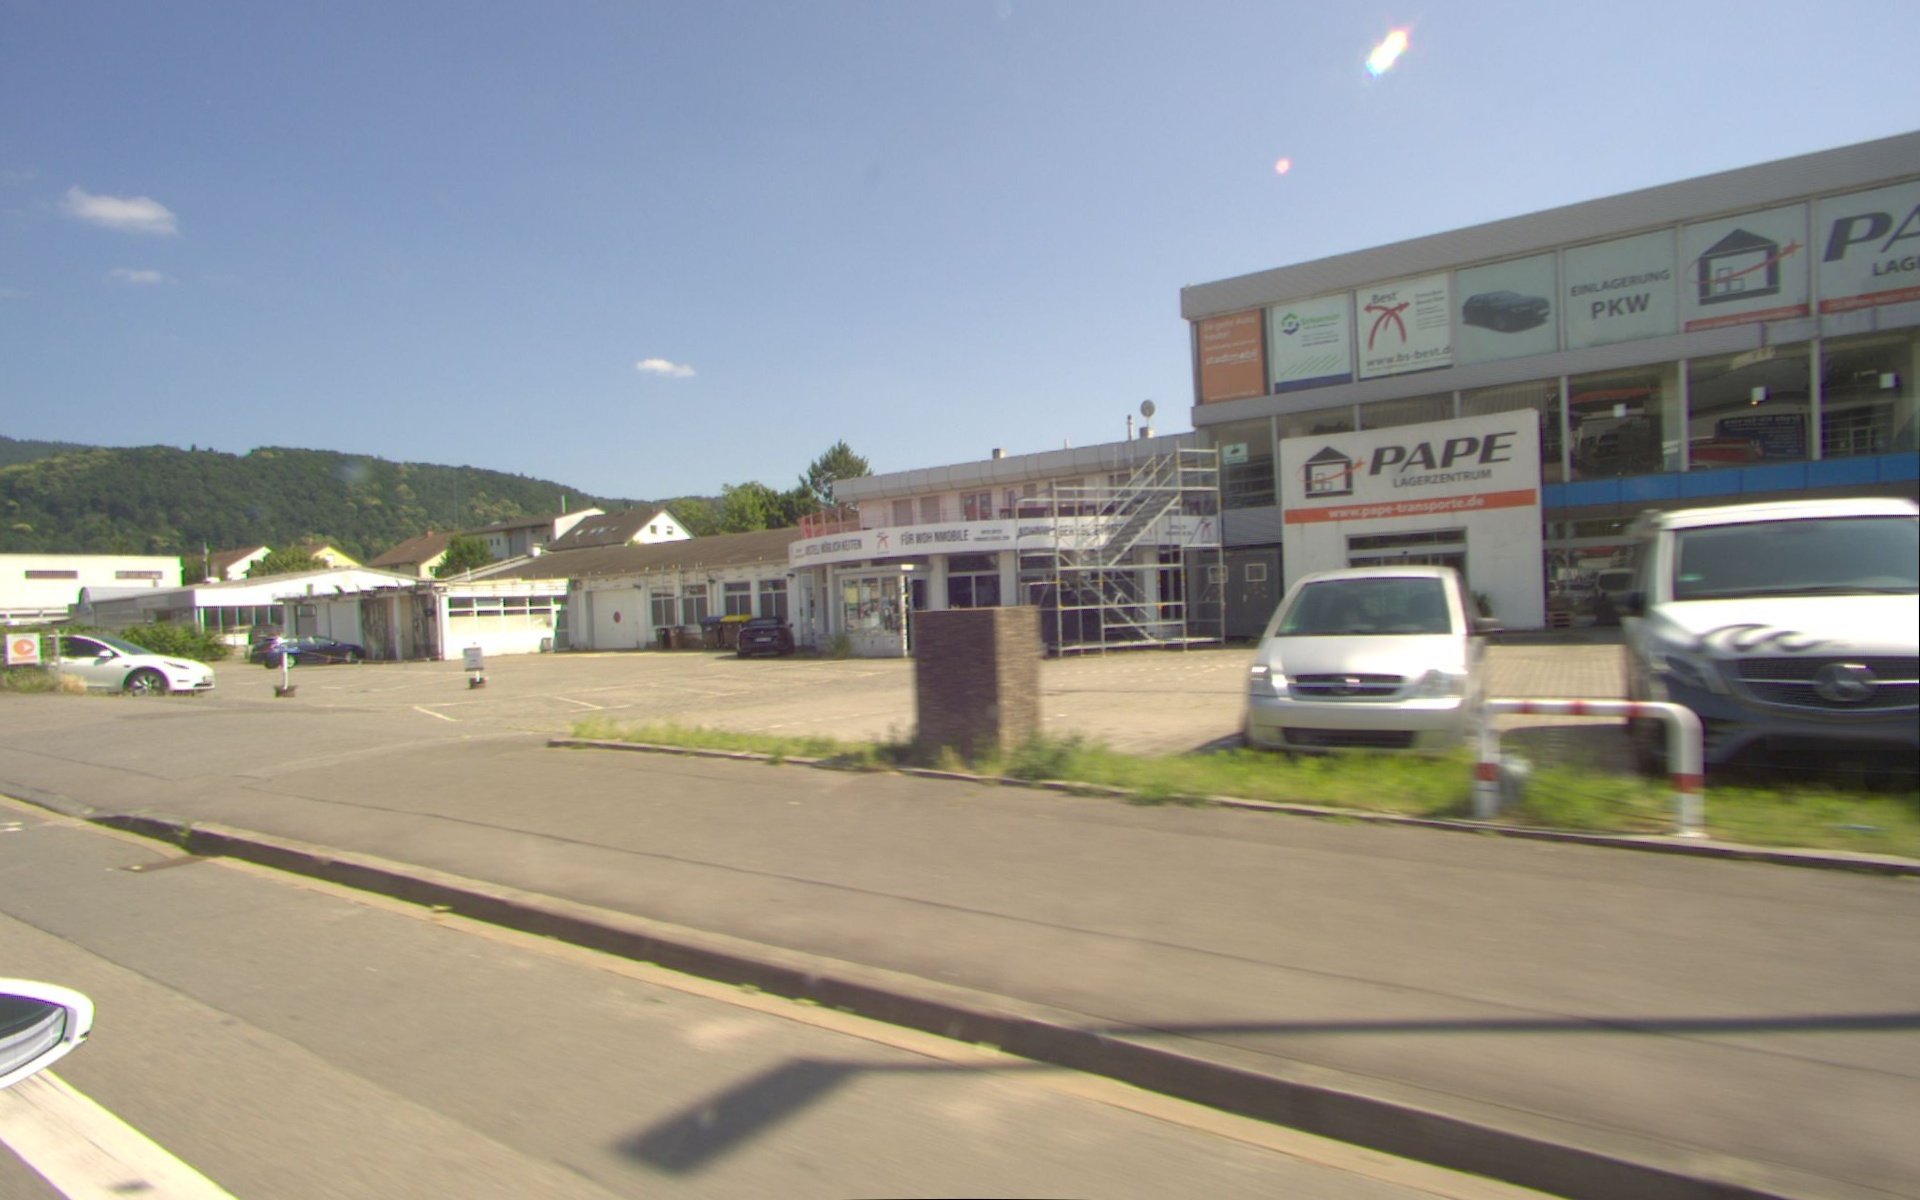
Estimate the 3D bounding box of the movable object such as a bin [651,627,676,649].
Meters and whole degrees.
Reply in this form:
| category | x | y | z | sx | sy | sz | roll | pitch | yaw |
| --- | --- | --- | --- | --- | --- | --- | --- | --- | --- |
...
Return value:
| category | x | y | z | sx | sy | sz | roll | pitch | yaw |
| --- | --- | --- | --- | --- | --- | --- | --- | --- | --- |
| movable object such as a bin | -14.086 | 1.815 | 47.629 | 0.863 | 1.005 | 0.745 | -1 | 0 | 28 |

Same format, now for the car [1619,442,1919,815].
| category | x | y | z | sx | sy | sz | roll | pitch | yaw |
| --- | --- | --- | --- | --- | --- | --- | --- | --- | --- |
| car | 6.280 | 0.076 | 7.631 | 1.972 | 1.978 | 5.220 | -1 | 1 | 32 |

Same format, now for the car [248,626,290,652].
| category | x | y | z | sx | sy | sz | roll | pitch | yaw |
| --- | --- | --- | --- | --- | --- | --- | --- | --- | --- |
| car | -48.610 | 2.702 | 70.518 | 1.970 | 1.669 | 3.982 | 0 | 0 | -27 |

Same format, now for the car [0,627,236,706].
| category | x | y | z | sx | sy | sz | roll | pitch | yaw |
| --- | --- | --- | --- | --- | --- | --- | --- | --- | --- |
| car | -20.562 | 1.601 | 23.840 | 4.955 | 1.640 | 2.024 | -1 | -5 | -15 |

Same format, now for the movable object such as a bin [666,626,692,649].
| category | x | y | z | sx | sy | sz | roll | pitch | yaw |
| --- | --- | --- | --- | --- | --- | --- | --- | --- | --- |
| movable object such as a bin | -13.236 | 1.779 | 47.155 | 0.863 | 1.050 | 0.745 | -1 | 0 | 28 |

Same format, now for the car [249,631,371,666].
| category | x | y | z | sx | sy | sz | roll | pitch | yaw |
| --- | --- | --- | --- | --- | --- | --- | --- | --- | --- |
| car | -30.250 | 2.209 | 46.710 | 2.092 | 1.416 | 4.314 | -2 | 0 | 36 |

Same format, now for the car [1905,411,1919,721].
| category | x | y | z | sx | sy | sz | roll | pitch | yaw |
| --- | --- | --- | --- | --- | --- | --- | --- | --- | --- |
| car | 8.553 | -0.287 | 6.561 | 2.288 | 2.908 | 6.212 | -1 | 1 | 33 |

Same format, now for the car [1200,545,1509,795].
| category | x | y | z | sx | sy | sz | roll | pitch | yaw |
| --- | --- | --- | --- | --- | --- | --- | --- | --- | --- |
| car | 3.568 | 0.506 | 8.604 | 1.773 | 1.613 | 3.914 | -1 | -2 | 32 |

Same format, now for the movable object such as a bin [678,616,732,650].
| category | x | y | z | sx | sy | sz | roll | pitch | yaw |
| --- | --- | --- | --- | --- | --- | --- | --- | --- | --- |
| movable object such as a bin | -11.563 | 1.483 | 45.430 | 1.728 | 1.475 | 1.569 | -1 | 0 | 28 |

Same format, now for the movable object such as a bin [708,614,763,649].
| category | x | y | z | sx | sy | sz | roll | pitch | yaw |
| --- | --- | --- | --- | --- | --- | --- | --- | --- | --- |
| movable object such as a bin | -9.993 | 1.402 | 44.539 | 1.797 | 1.475 | 1.569 | -1 | 0 | 28 |

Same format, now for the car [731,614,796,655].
| category | x | y | z | sx | sy | sz | roll | pitch | yaw |
| --- | --- | --- | --- | --- | --- | --- | --- | --- | --- |
| car | -6.922 | 1.221 | 34.981 | 1.861 | 1.306 | 4.550 | 0 | -2 | -16 |
